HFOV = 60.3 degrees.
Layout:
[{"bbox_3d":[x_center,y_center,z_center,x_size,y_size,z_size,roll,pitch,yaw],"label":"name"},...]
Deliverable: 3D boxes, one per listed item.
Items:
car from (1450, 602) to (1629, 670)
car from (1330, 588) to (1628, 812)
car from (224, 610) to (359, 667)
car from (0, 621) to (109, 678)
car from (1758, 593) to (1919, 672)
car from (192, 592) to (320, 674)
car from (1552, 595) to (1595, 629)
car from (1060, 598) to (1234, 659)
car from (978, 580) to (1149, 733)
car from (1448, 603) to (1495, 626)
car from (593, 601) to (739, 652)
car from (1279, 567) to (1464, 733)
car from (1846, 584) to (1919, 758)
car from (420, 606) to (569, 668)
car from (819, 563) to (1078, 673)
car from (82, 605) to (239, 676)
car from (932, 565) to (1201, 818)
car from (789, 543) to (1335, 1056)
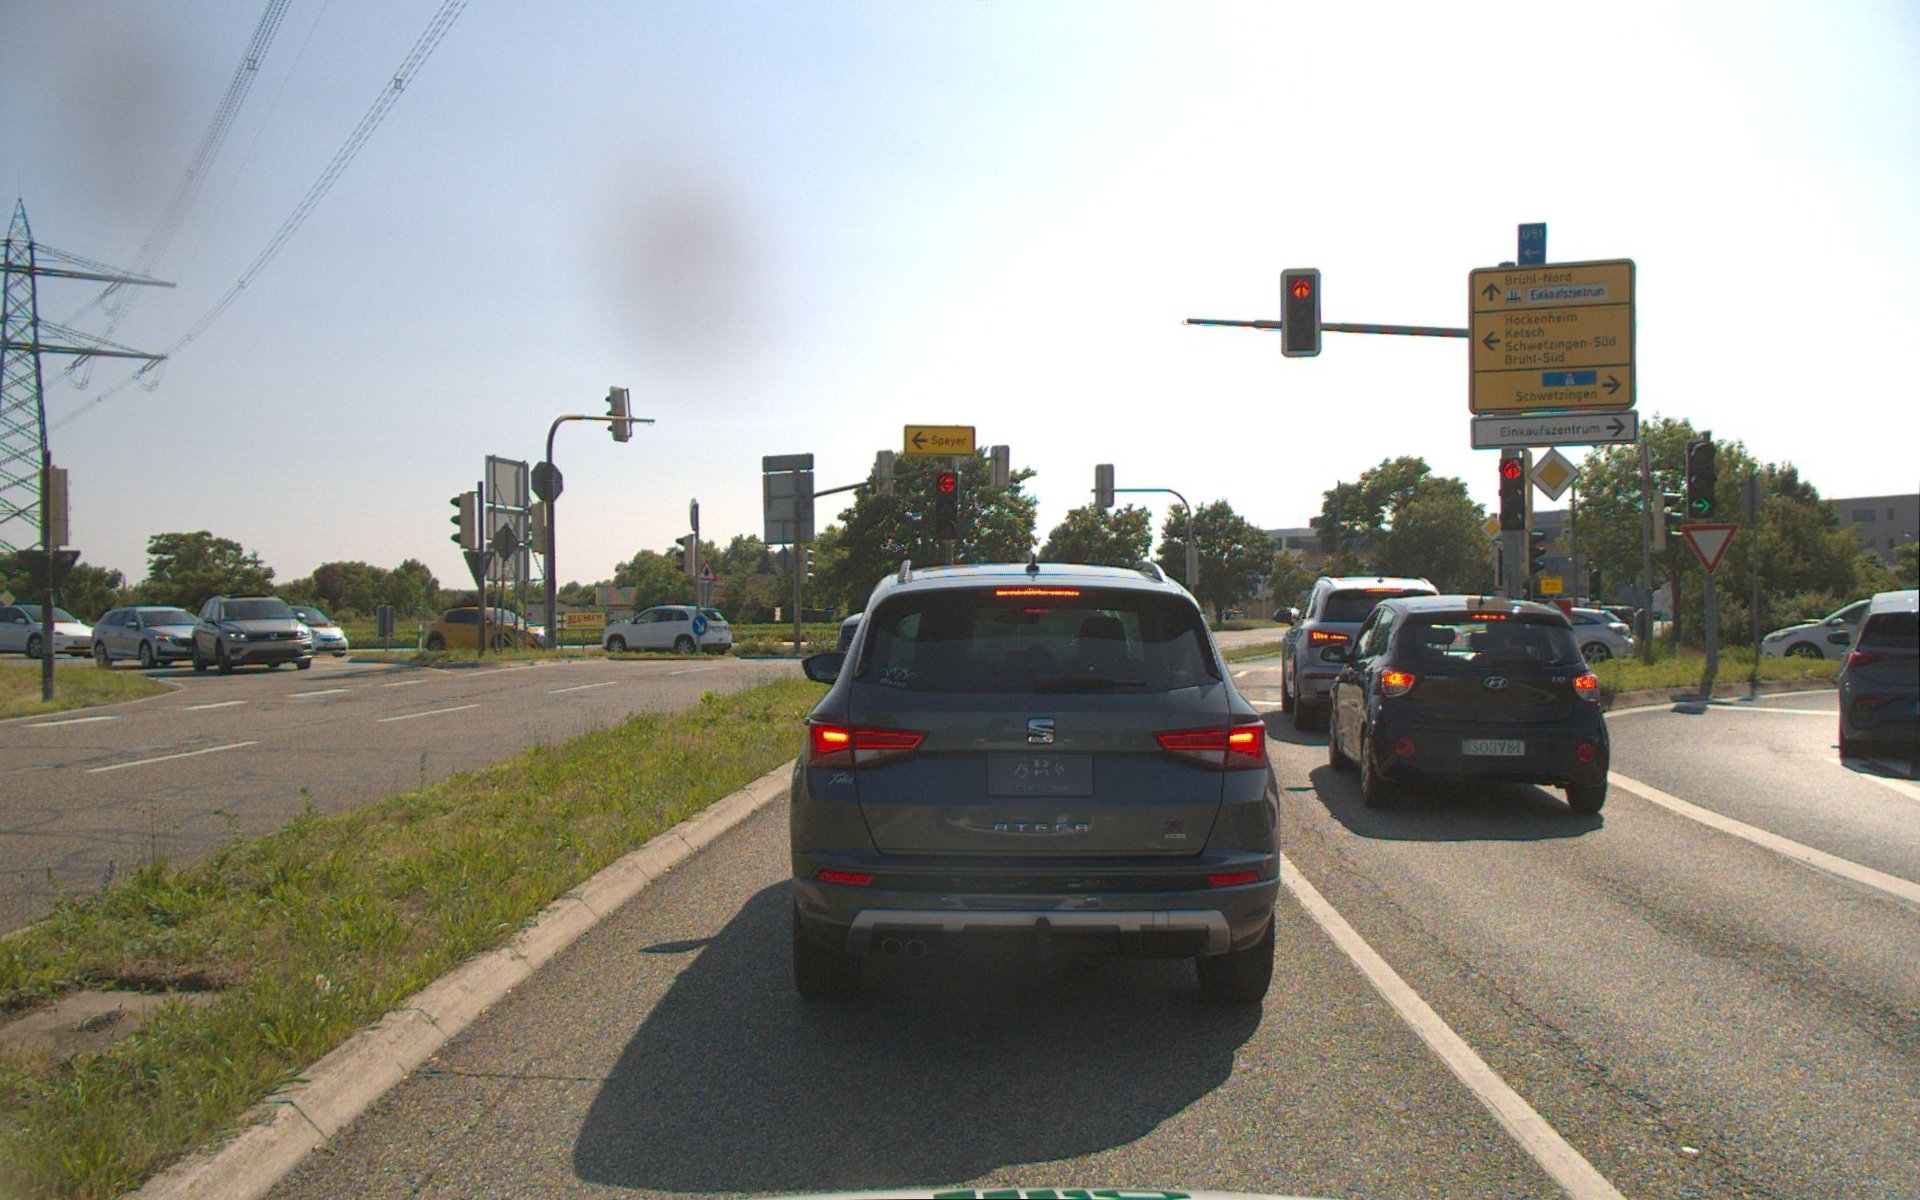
[{"bbox_3d":[13.666,0.829,39.011,3.791,1.545,1.806,-1,0,26],"label":"car"},{"bbox_3d":[3.845,0.662,12.744,1.598,1.473,3.297,1,0,7],"label":"car"},{"bbox_3d":[-20.722,1.169,51.280,3.910,1.680,1.818,-1,0,28],"label":"car"},{"bbox_3d":[-28.823,1.513,51.521,4.655,1.680,1.818,-1,0,28],"label":"car"},{"bbox_3d":[17.990,0.618,32.692,3.829,1.490,1.719,0,0,32],"label":"car"},{"bbox_3d":[-15.396,0.681,36.076,1.799,1.680,3.950,0,0,-35],"label":"car"},{"bbox_3d":[35.030,0.685,94.406,1.684,1.851,3.769,1,0,31],"label":"car"},{"bbox_3d":[4.943,0.740,43.865,4.236,1.545,1.806,-1,0,26],"label":"car"},{"bbox_3d":[1.212,0.581,18.581,1.705,1.510,3.626,1,0,5],"label":"car"},{"bbox_3d":[36.658,1.022,118.416,3.582,1.576,1.690,1,0,-43],"label":"car"},{"bbox_3d":[-9.150,0.820,51.426,4.236,1.545,1.806,-1,0,26],"label":"car"},{"bbox_3d":[4.640,0.518,19.083,1.598,1.706,3.752,1,0,7],"label":"car"},{"bbox_3d":[9.827,0.625,16.387,1.740,1.544,4.092,1,1,29],"label":"car"},{"bbox_3d":[-13.204,1.029,46.917,3.910,1.680,1.818,-1,0,28],"label":"car"},{"bbox_3d":[-0.155,0.310,31.910,4.903,1.951,1.971,0,1,-41],"label":"car"},{"bbox_3d":[-19.762,0.969,40.853,3.918,1.680,1.814,-1,0,35],"label":"car"},{"bbox_3d":[0.722,0.595,12.511,1.706,1.596,3.624,1,0,1],"label":"car"},{"bbox_3d":[0.326,0.639,7.068,1.706,1.596,3.624,1,0,0],"label":"car"}]
